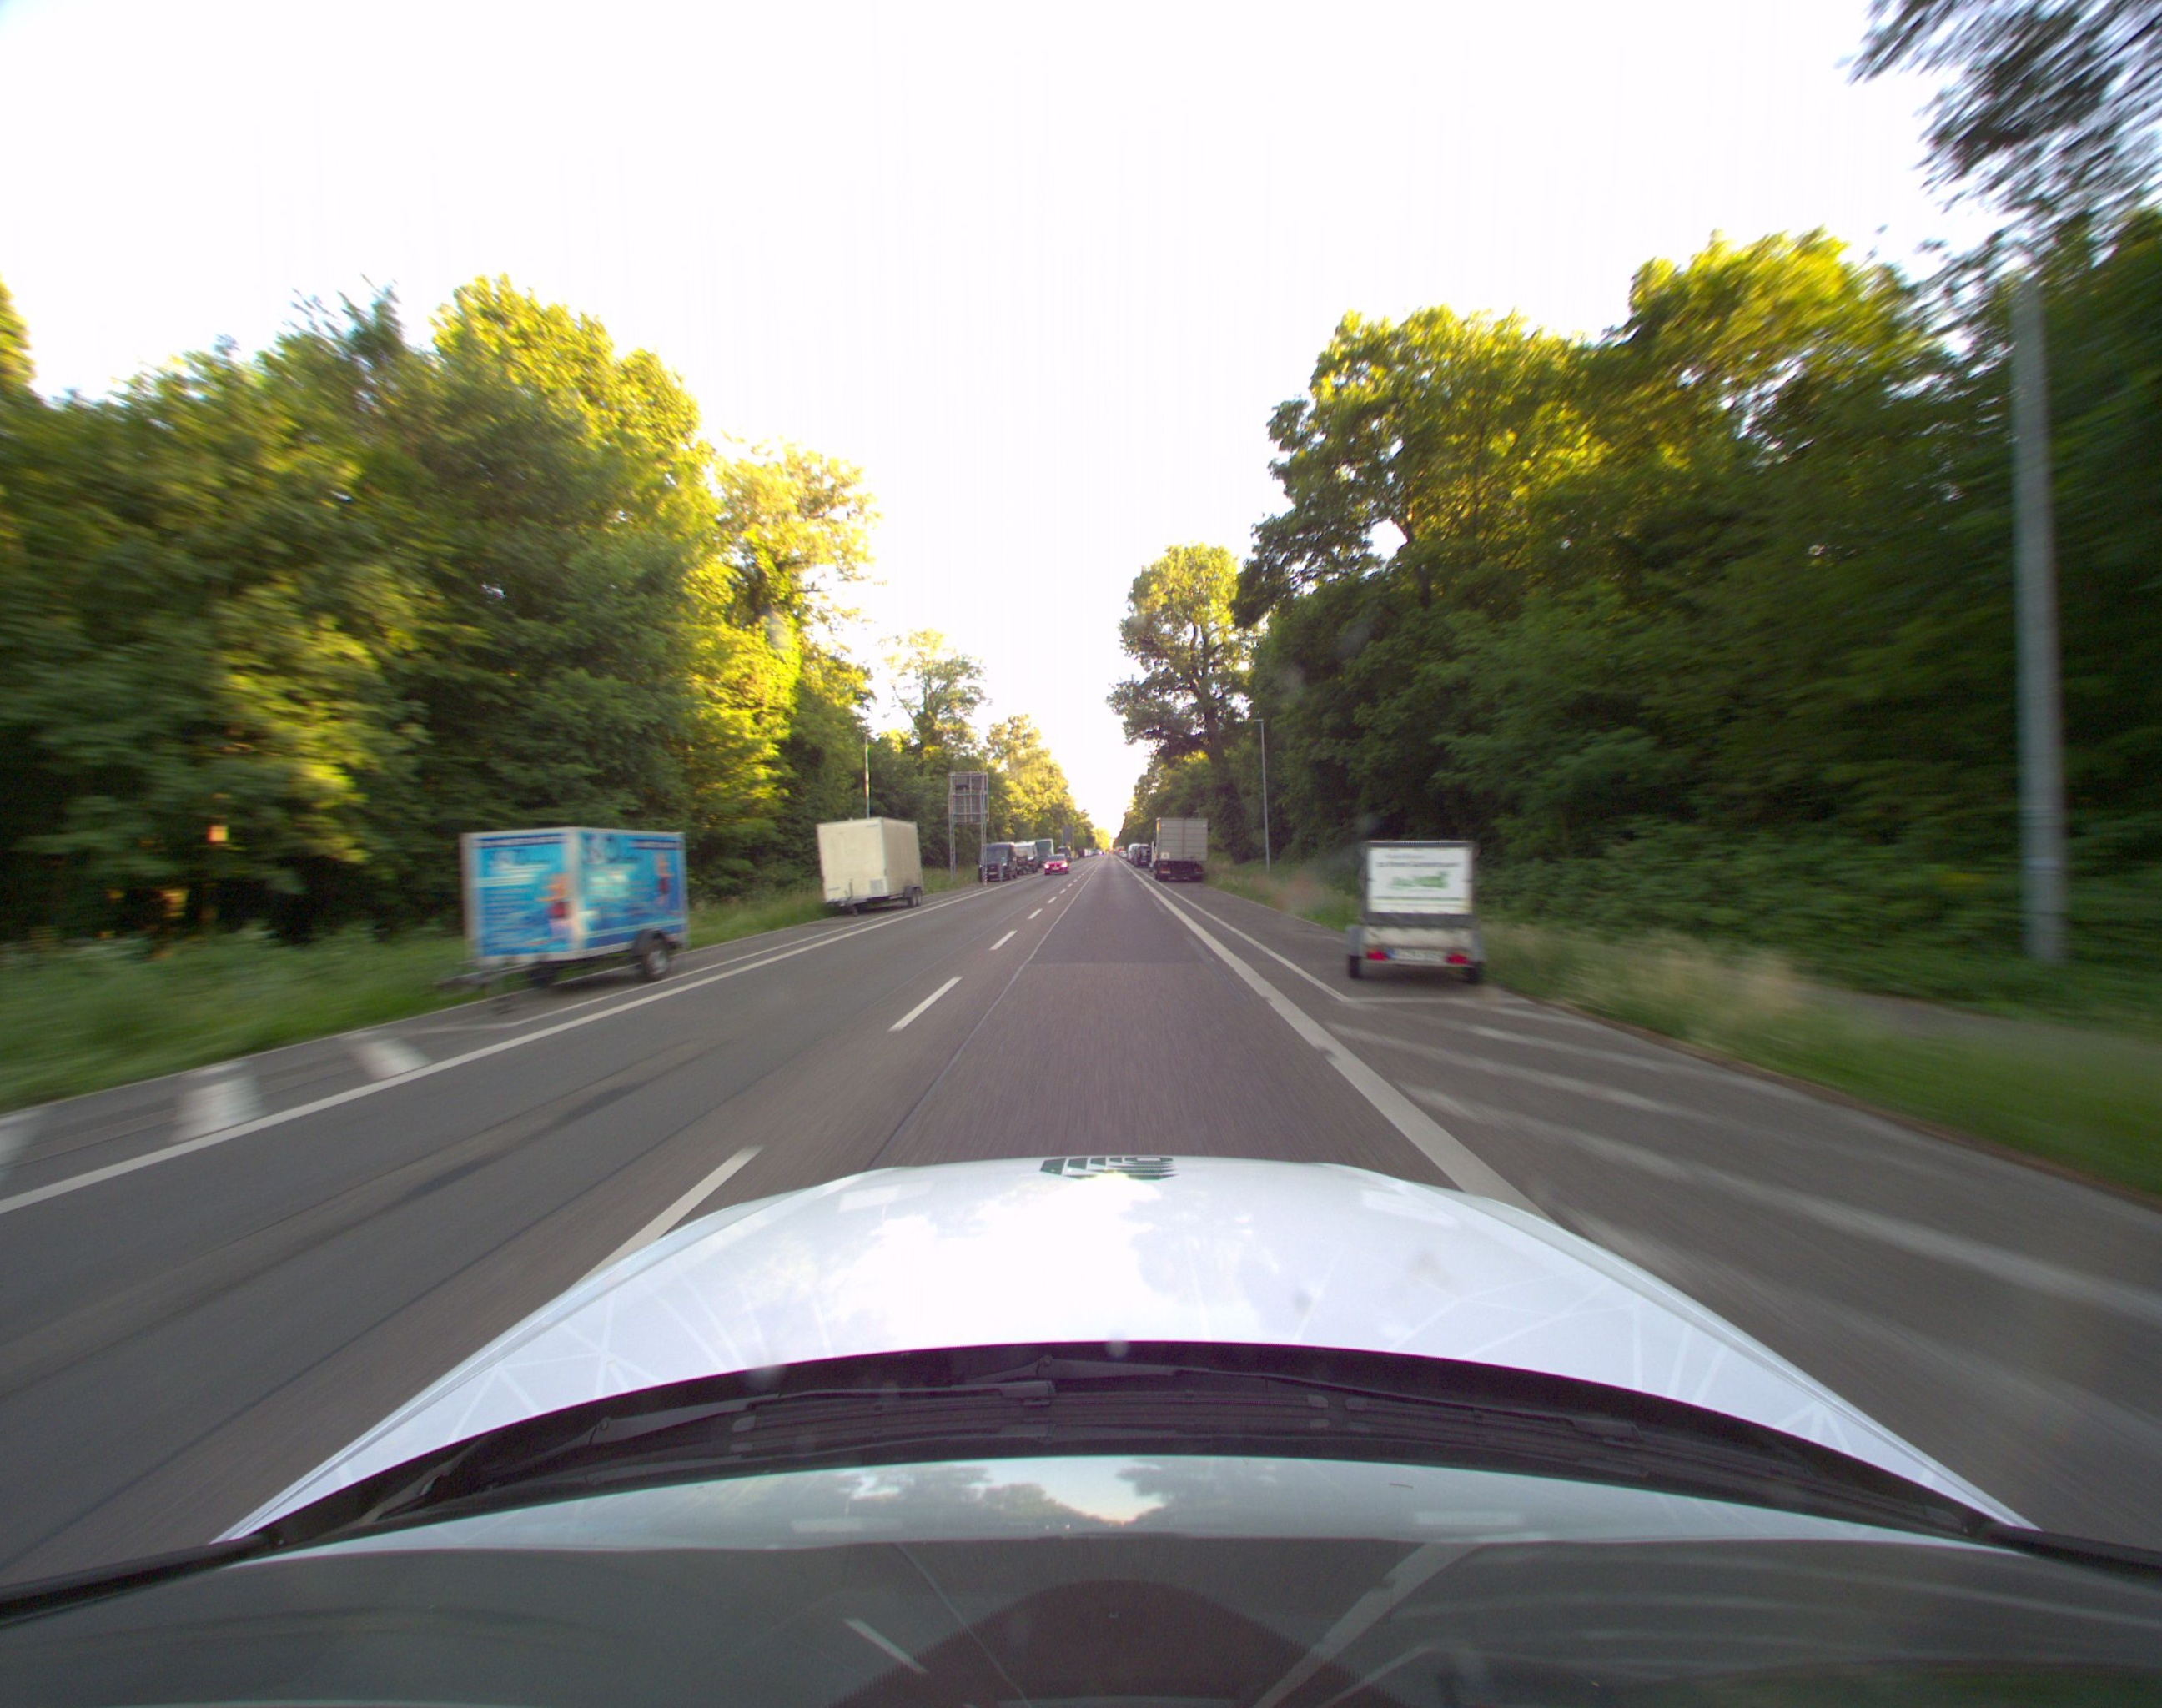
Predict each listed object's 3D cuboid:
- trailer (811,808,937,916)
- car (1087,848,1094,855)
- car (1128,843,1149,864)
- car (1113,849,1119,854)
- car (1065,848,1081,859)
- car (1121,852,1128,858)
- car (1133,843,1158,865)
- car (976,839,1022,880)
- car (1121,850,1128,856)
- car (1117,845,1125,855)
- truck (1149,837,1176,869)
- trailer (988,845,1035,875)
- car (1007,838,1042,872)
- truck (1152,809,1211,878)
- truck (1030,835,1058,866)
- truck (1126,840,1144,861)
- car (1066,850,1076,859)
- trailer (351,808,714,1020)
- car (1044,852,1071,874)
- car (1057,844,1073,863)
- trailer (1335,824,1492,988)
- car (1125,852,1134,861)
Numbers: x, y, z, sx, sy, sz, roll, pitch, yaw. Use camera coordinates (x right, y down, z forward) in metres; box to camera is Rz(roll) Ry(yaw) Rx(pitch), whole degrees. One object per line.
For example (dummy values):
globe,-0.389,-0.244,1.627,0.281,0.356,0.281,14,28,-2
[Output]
trailer,-6.458,0.215,26.255,2.317,2.924,5.628,-4,0,1
car,3.068,-0.885,259.023,1.985,2.013,4.003,-3,0,3
car,6.757,-0.067,95.745,2.135,2.313,4.299,-1,0,0
car,10.305,-0.702,238.332,1.639,1.486,3.596,0,0,2
car,-1.556,-0.142,159.014,1.685,2.013,4.021,0,1,20
car,10.142,0.277,190.955,1.639,1.486,4.002,0,0,2
car,6.062,0.014,76.492,1.987,1.955,4.299,-1,0,0
car,-5.220,0.343,52.679,1.986,2.364,5.768,-4,0,2
car,9.270,-0.164,173.729,1.422,1.222,3.413,-4,0,2
car,12.473,-1.409,255.657,2.305,3.093,5.642,0,0,2
truck,6.139,-0.087,61.979,1.877,2.283,4.304,-1,0,4
trailer,-5.406,0.408,63.588,1.945,2.155,3.952,-3,0,23
car,-4.746,0.097,69.105,2.241,2.647,5.724,-3,0,2
truck,5.103,-0.510,42.583,2.578,3.255,7.227,-1,0,3
truck,-4.233,-0.374,94.351,2.495,3.328,6.844,-3,0,2
truck,7.225,-0.487,108.840,2.135,2.659,4.299,-1,0,0
car,-1.761,0.047,150.598,1.765,1.672,4.000,0,1,0
trailer,-6.765,0.629,10.722,1.811,2.167,4.143,-3,0,1
car,-1.711,0.616,60.239,1.676,1.486,4.039,-3,0,2
car,-2.469,-0.135,129.317,2.178,2.788,5.336,-3,0,2
trailer,4.114,0.526,10.301,1.444,1.662,3.796,-3,0,20
car,6.802,0.344,114.730,1.143,1.251,2.753,-2,0,0
